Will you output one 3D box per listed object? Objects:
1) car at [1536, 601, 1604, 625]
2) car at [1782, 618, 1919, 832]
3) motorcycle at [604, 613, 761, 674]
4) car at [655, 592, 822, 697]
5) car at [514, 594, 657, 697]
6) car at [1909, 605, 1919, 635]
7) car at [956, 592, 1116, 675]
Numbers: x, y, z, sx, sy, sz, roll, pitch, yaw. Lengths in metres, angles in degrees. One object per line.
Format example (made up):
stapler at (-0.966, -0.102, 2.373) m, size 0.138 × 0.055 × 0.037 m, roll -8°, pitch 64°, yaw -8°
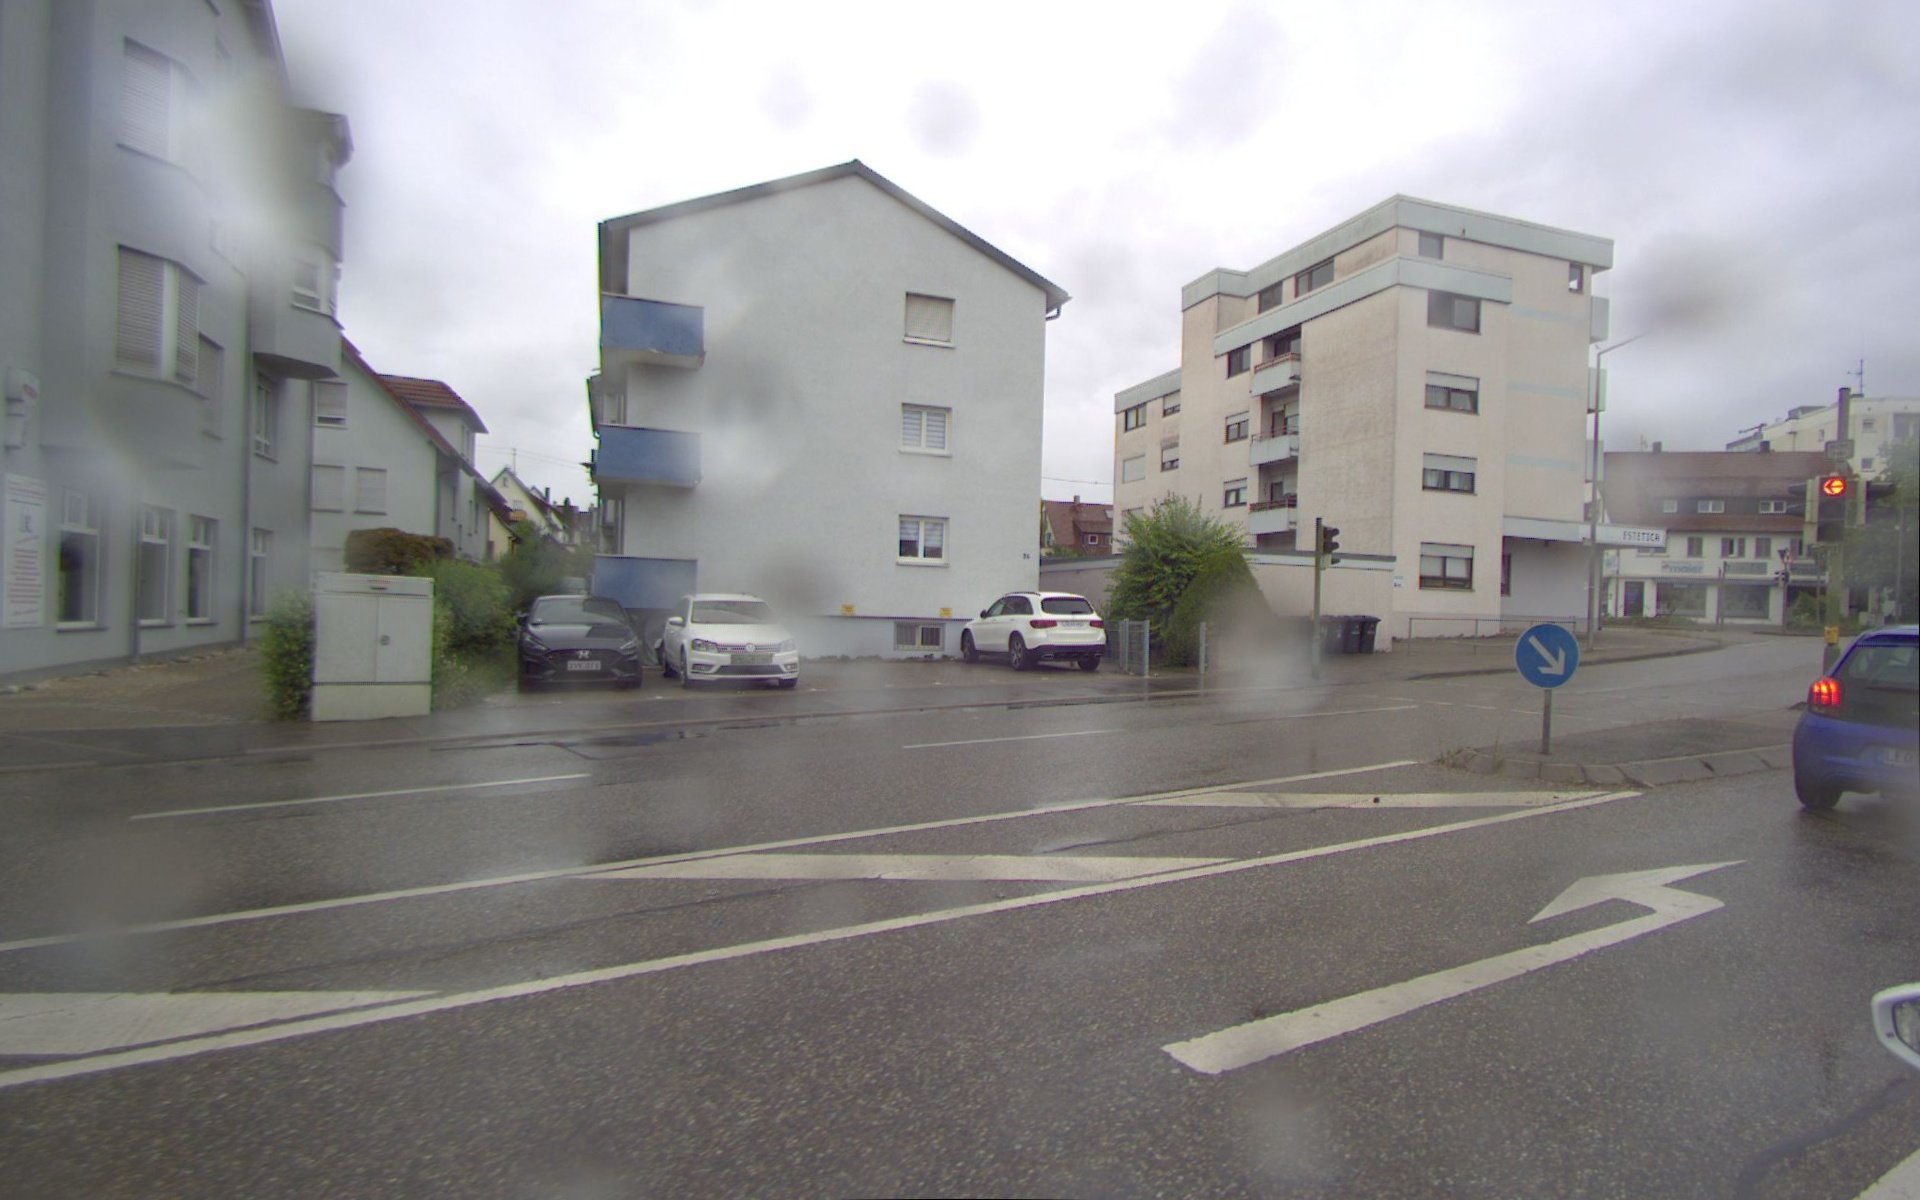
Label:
car at (44.876, 0.948, 73.954) m, size 3.887 × 1.593 × 1.873 m, roll 1°, pitch 1°, yaw 16°
car at (7.934, 0.878, 7.641) m, size 3.232 × 1.429 × 1.571 m, roll 1°, pitch 1°, yaw -31°
motorcycle at (-5.594, 0.848, 20.476) m, size 0.864 × 1.115 × 3.114 m, roll 1°, pitch 1°, yaw 42°
car at (-3.805, 0.646, 16.677) m, size 1.878 × 1.493 × 4.207 m, roll 0°, pitch 0°, yaw -24°
car at (-6.075, 0.636, 16.032) m, size 1.878 × 1.430 × 3.976 m, roll 0°, pitch 0°, yaw -24°
car at (49.405, 1.016, 50.319) m, size 3.786 × 1.439 × 1.769 m, roll 1°, pitch 0°, yaw -31°
car at (1.551, 0.673, 22.357) m, size 1.910 × 1.658 × 4.445 m, roll 0°, pitch 0°, yaw -20°
